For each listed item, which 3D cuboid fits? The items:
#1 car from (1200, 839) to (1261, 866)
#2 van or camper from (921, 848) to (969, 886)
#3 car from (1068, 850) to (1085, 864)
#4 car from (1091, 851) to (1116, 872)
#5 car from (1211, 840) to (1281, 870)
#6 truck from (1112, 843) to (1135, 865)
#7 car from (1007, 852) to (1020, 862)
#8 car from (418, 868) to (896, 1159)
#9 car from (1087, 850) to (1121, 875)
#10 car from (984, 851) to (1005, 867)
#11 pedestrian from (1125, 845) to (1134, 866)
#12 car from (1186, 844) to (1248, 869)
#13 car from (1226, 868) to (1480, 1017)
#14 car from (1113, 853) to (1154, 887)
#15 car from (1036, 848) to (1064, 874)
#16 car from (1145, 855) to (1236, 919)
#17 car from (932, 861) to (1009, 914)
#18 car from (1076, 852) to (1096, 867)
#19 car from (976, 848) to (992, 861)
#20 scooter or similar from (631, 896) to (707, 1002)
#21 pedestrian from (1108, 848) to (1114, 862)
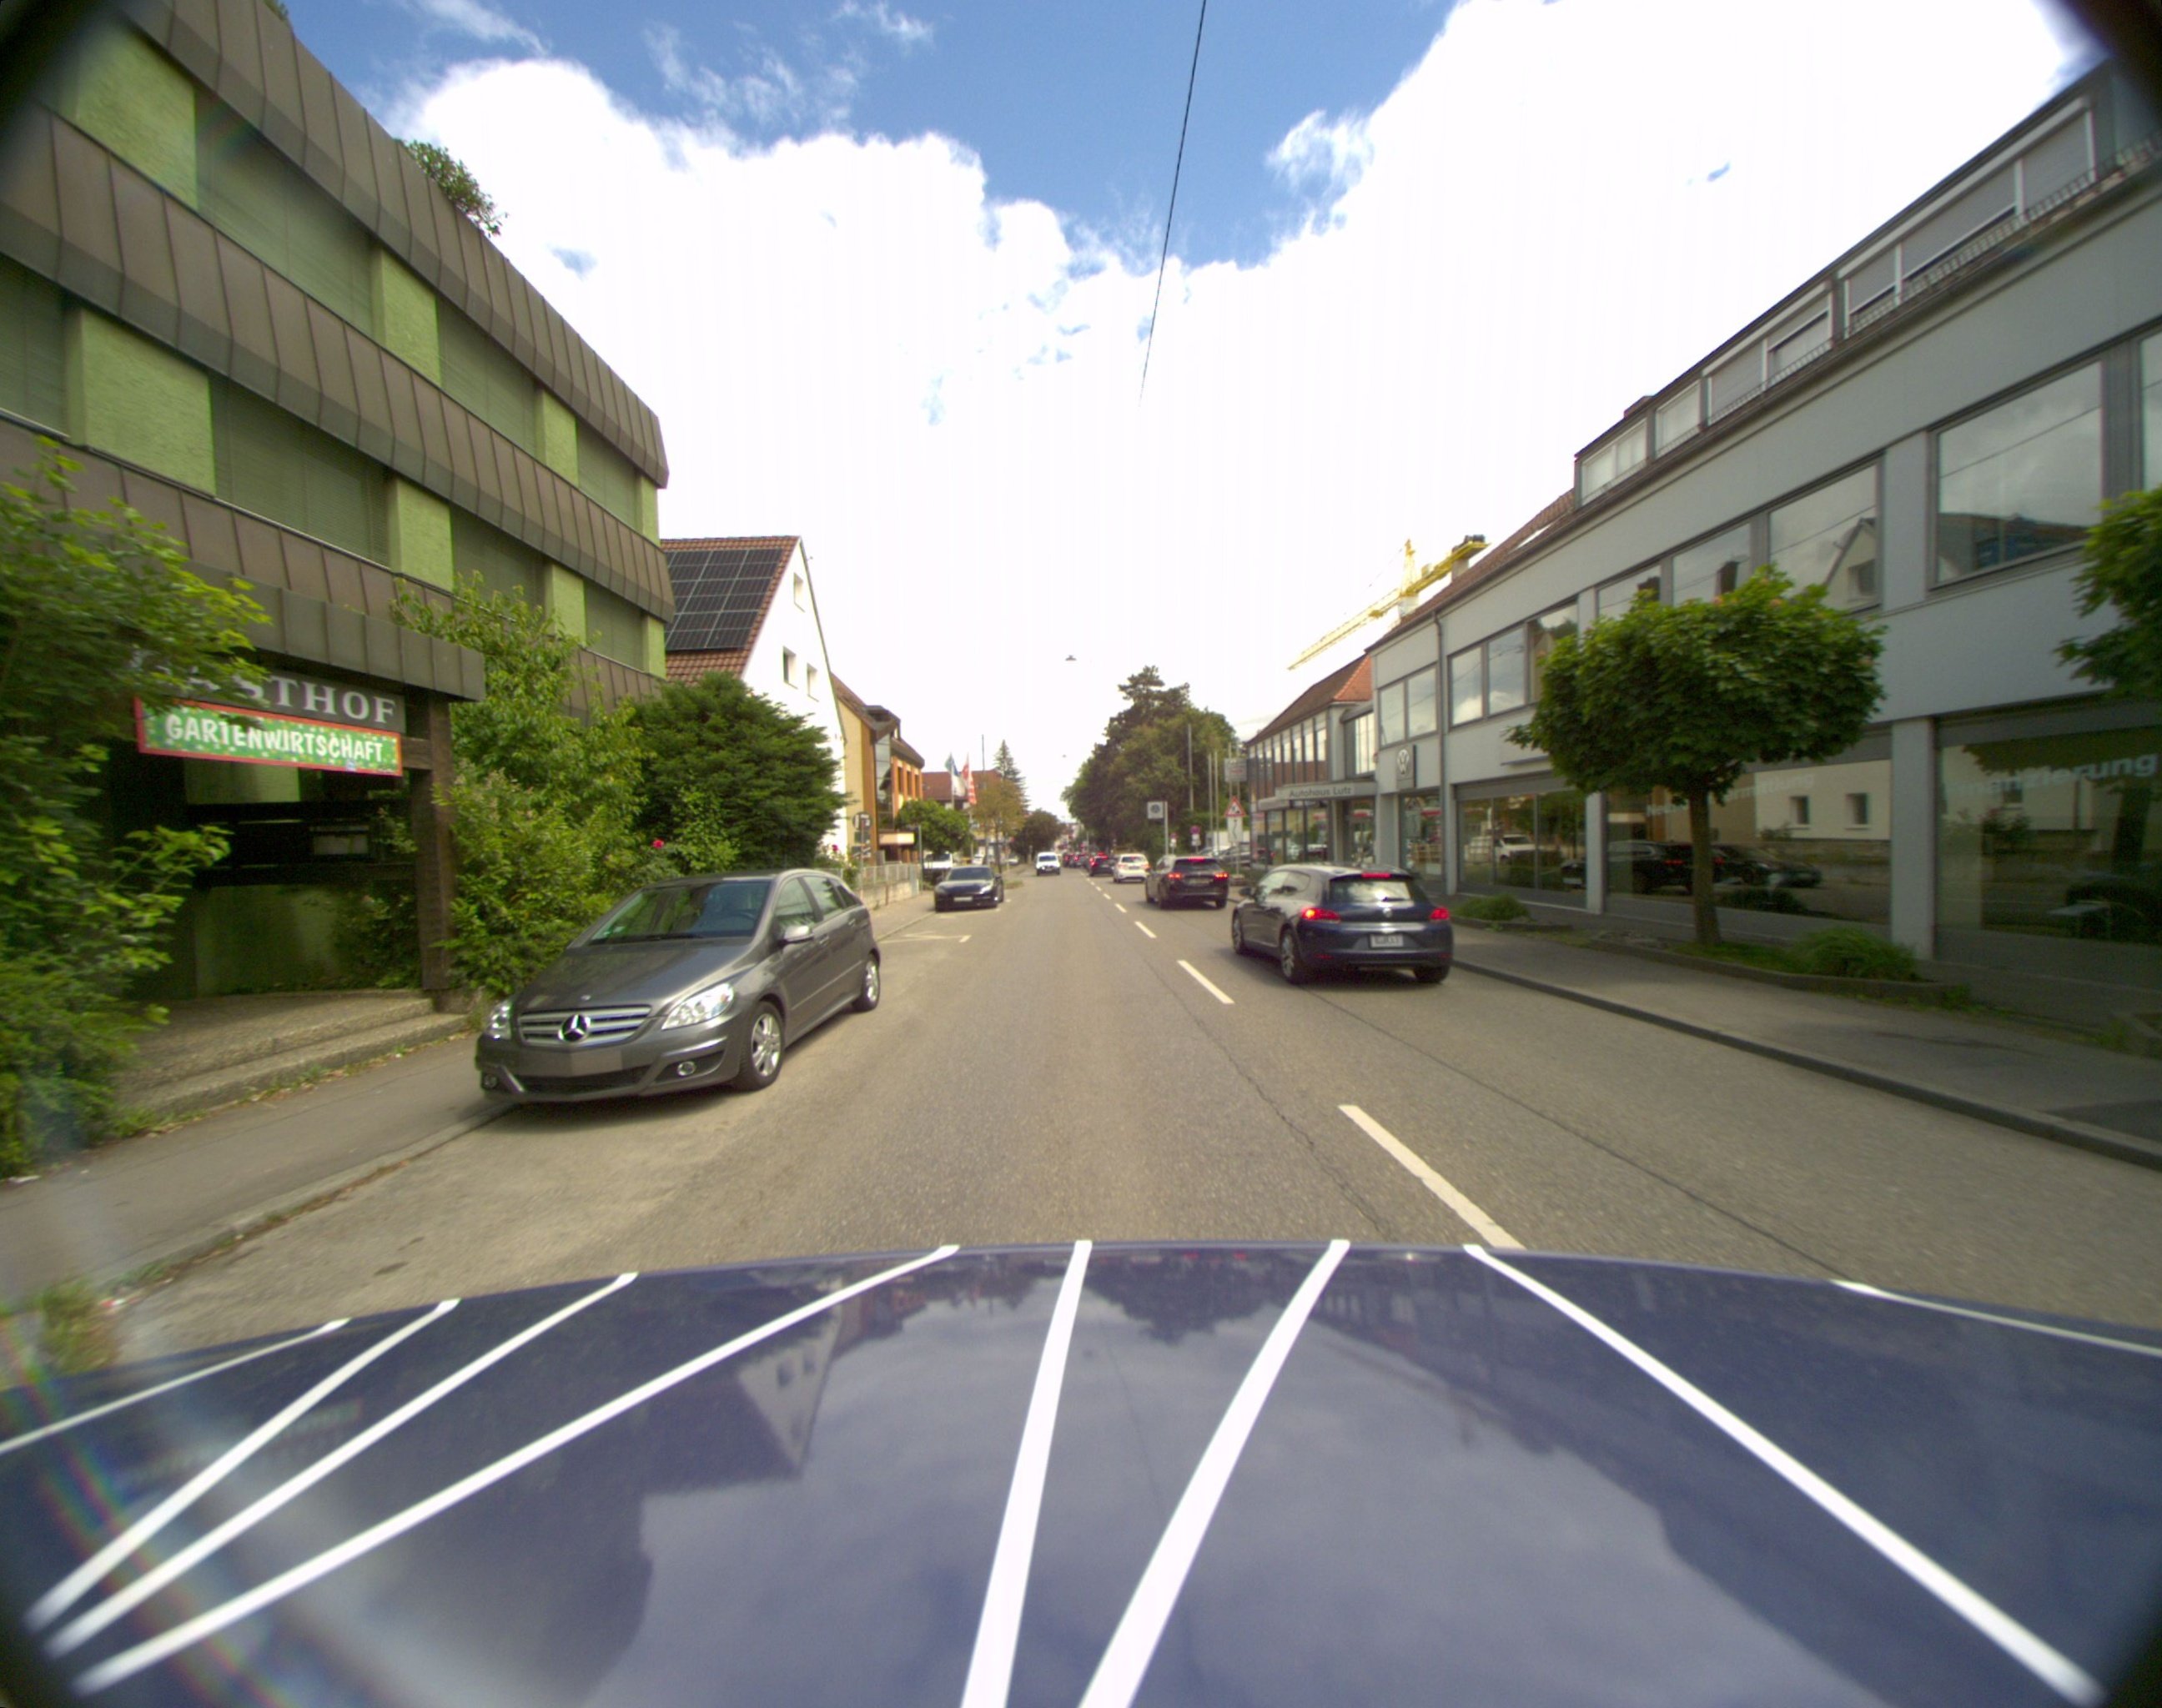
[{"bbox_3d":[10.197,-0.076,52.038,3.750,1.551,1.534,-4,1,-3],"label":"car"},{"bbox_3d":[-8.155,0.748,45.920,1.871,2.020,4.547,-3,1,2],"label":"van or camper"},{"bbox_3d":[-0.599,0.350,87.807,1.870,1.518,4.527,-1,0,-1],"label":"car"},{"bbox_3d":[1.860,0.632,63.737,1.836,1.620,4.320,-1,0,-2],"label":"car"},{"bbox_3d":[10.571,0.039,48.945,4.024,1.621,1.653,-4,1,-3],"label":"car"},{"bbox_3d":[5.032,-0.046,91.267,2.312,2.406,6.091,-3,1,0],"label":"truck"},{"bbox_3d":[-9.692,0.372,109.726,1.790,1.309,4.479,-1,1,-5],"label":"car"},{"bbox_3d":[-3.080,0.996,6.776,1.694,1.656,4.462,-1,0,0],"label":"car"},{"bbox_3d":[1.487,0.561,51.287,1.836,1.514,4.168,-1,1,-4],"label":"car"},{"bbox_3d":[-9.731,0.532,85.773,1.619,1.586,4.159,4,1,2],"label":"car"},{"bbox_3d":[4.183,0.119,65.662,0.684,1.727,0.868,-3,2,-2],"label":"pedestrian"},{"bbox_3d":[10.388,0.206,58.149,4.301,1.631,1.903,-3,0,-1],"label":"car"},{"bbox_3d":[3.205,0.955,9.919,1.775,1.417,4.108,0,1,-1],"label":"car"},{"bbox_3d":[2.707,0.806,39.667,1.694,1.570,3.798,-1,1,-2],"label":"car"},{"bbox_3d":[-2.409,0.515,60.082,1.966,1.797,4.427,-3,1,-1],"label":"car"},{"bbox_3d":[3.006,0.843,21.737,1.781,1.514,4.460,-1,1,-2],"label":"car"},{"bbox_3d":[-3.587,1.029,25.494,1.989,1.440,4.750,-1,1,-1],"label":"car"},{"bbox_3d":[0.488,0.592,82.076,1.871,1.608,4.533,-1,0,-3],"label":"car"},{"bbox_3d":[-12.180,0.046,95.433,1.639,1.520,4.201,2,1,-4],"label":"car"},{"bbox_3d":[-5.649,1.260,10.488,0.301,1.297,1.404,1,0,-2],"label":"scooter or similar"},{"bbox_3d":[4.179,0.139,106.209,0.835,1.837,1.021,-3,2,2],"label":"pedestrian"}]
